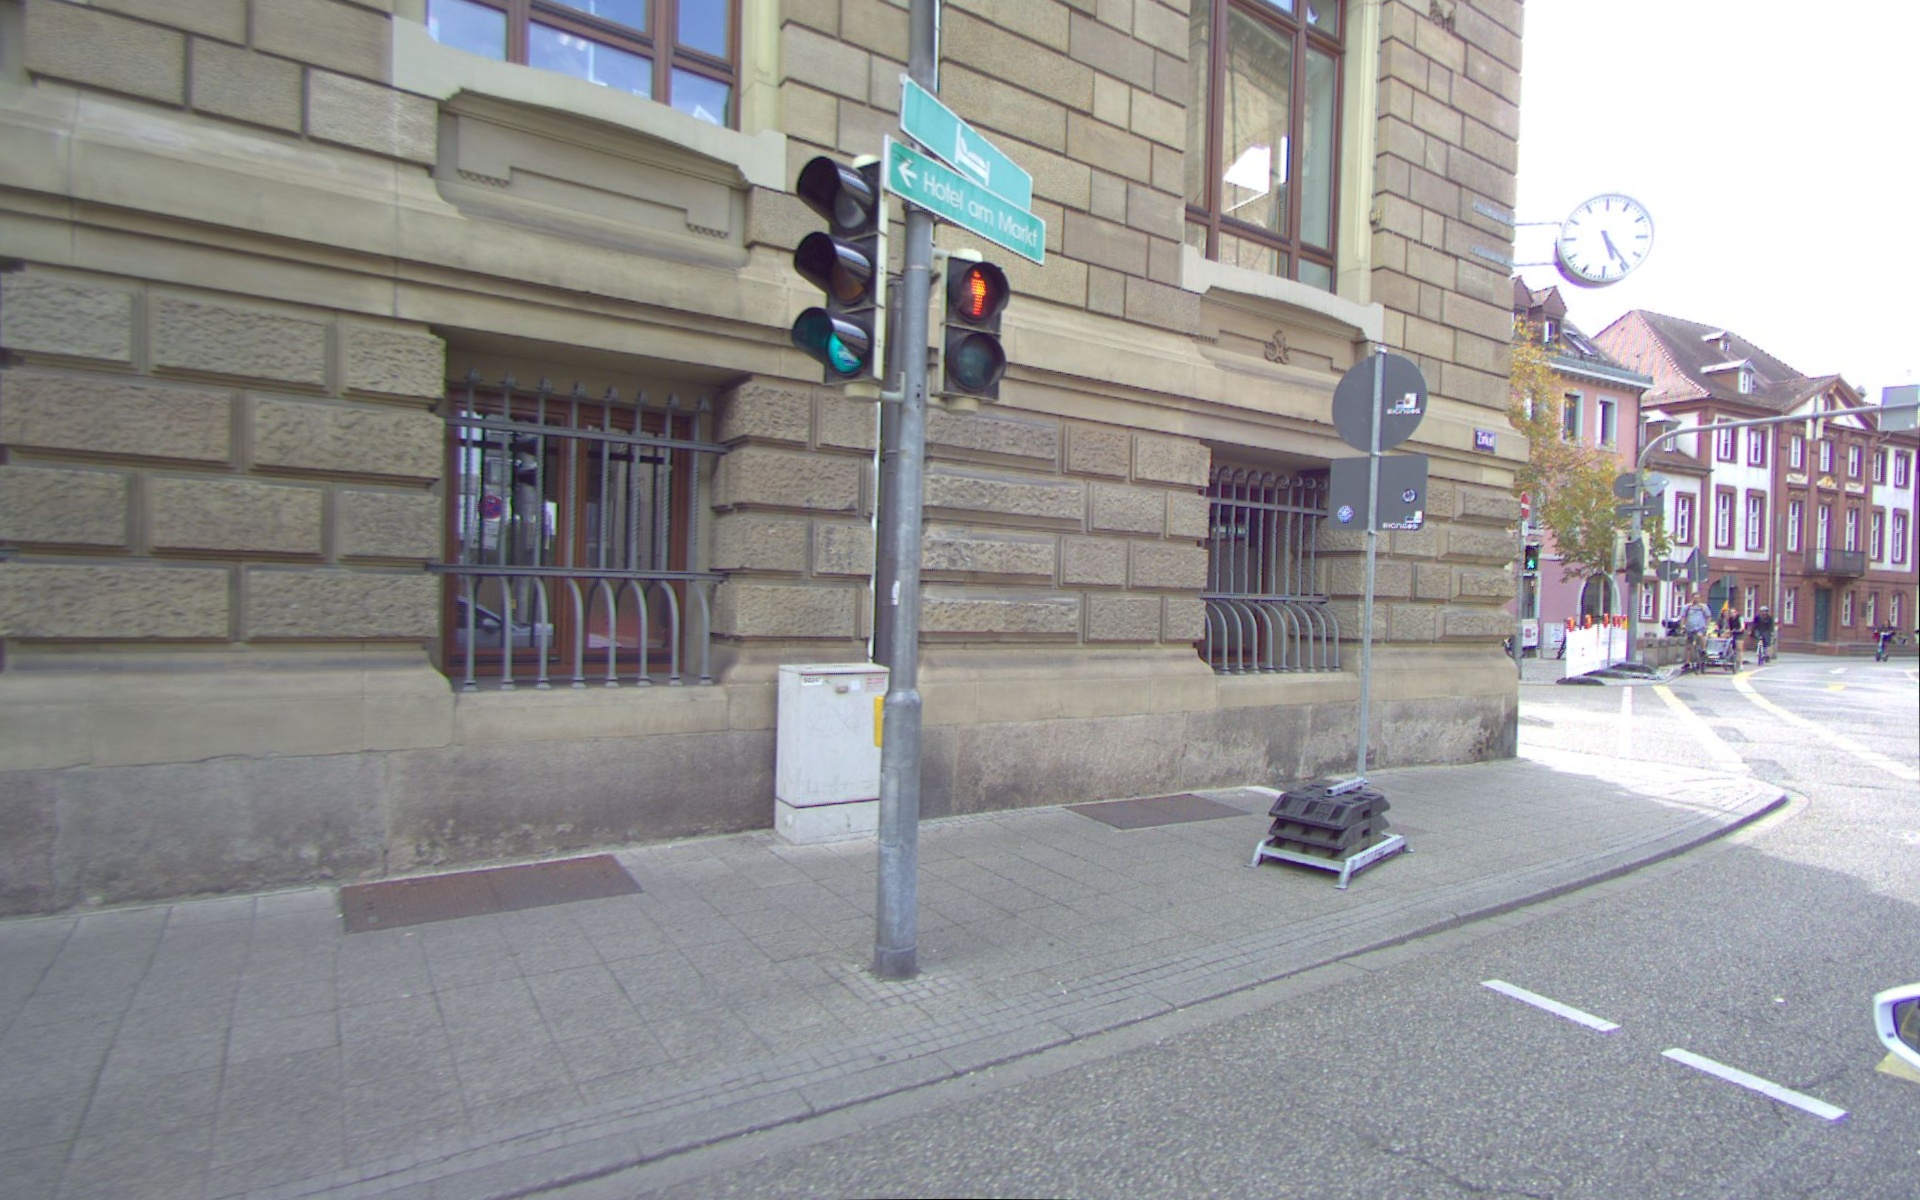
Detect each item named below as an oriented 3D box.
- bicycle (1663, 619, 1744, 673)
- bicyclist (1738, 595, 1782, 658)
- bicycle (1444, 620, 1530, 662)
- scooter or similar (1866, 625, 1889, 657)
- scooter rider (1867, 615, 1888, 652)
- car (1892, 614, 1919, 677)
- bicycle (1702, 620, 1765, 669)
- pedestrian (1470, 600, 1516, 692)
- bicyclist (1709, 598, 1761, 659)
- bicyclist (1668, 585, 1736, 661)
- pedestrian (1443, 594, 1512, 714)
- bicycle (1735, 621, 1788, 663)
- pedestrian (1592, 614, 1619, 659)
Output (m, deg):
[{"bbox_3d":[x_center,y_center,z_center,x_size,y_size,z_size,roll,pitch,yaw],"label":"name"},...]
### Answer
[{"bbox_3d":[18.945,1.148,25.552,3.018,1.272,1.046,2,0,-42],"label":"bicycle"},{"bbox_3d":[26.052,0.853,32.703,1.097,1.989,0.917,2,0,-41],"label":"bicyclist"},{"bbox_3d":[14.309,1.089,27.327,0.500,1.073,2.036,2,-1,-37],"label":"bicycle"},{"bbox_3d":[37.818,1.671,41.406,0.593,1.272,1.542,2,0,45],"label":"scooter or similar"},{"bbox_3d":[37.810,1.371,41.397,0.675,1.510,0.593,2,0,-45],"label":"scooter rider"},{"bbox_3d":[26.405,1.222,26.847,1.750,1.607,3.985,2,0,37],"label":"car"},{"bbox_3d":[21.497,1.219,27.890,2.522,1.272,0.917,2,0,-42],"label":"bicycle"},{"bbox_3d":[10.046,0.857,18.946,0.653,1.699,0.698,0,0,19],"label":"pedestrian"},{"bbox_3d":[21.541,0.789,27.915,1.055,1.630,0.918,2,0,-41],"label":"bicyclist"},{"bbox_3d":[18.725,0.580,25.344,1.355,1.848,1.081,2,0,-41],"label":"bicyclist"},{"bbox_3d":[8.370,0.856,16.293,0.832,1.859,0.857,2,0,19],"label":"pedestrian"},{"bbox_3d":[26.373,1.373,33.031,2.522,1.272,0.917,2,0,-42],"label":"bicycle"},{"bbox_3d":[25.147,1.412,39.140,0.690,1.699,0.660,1,0,-32],"label":"pedestrian"}]
